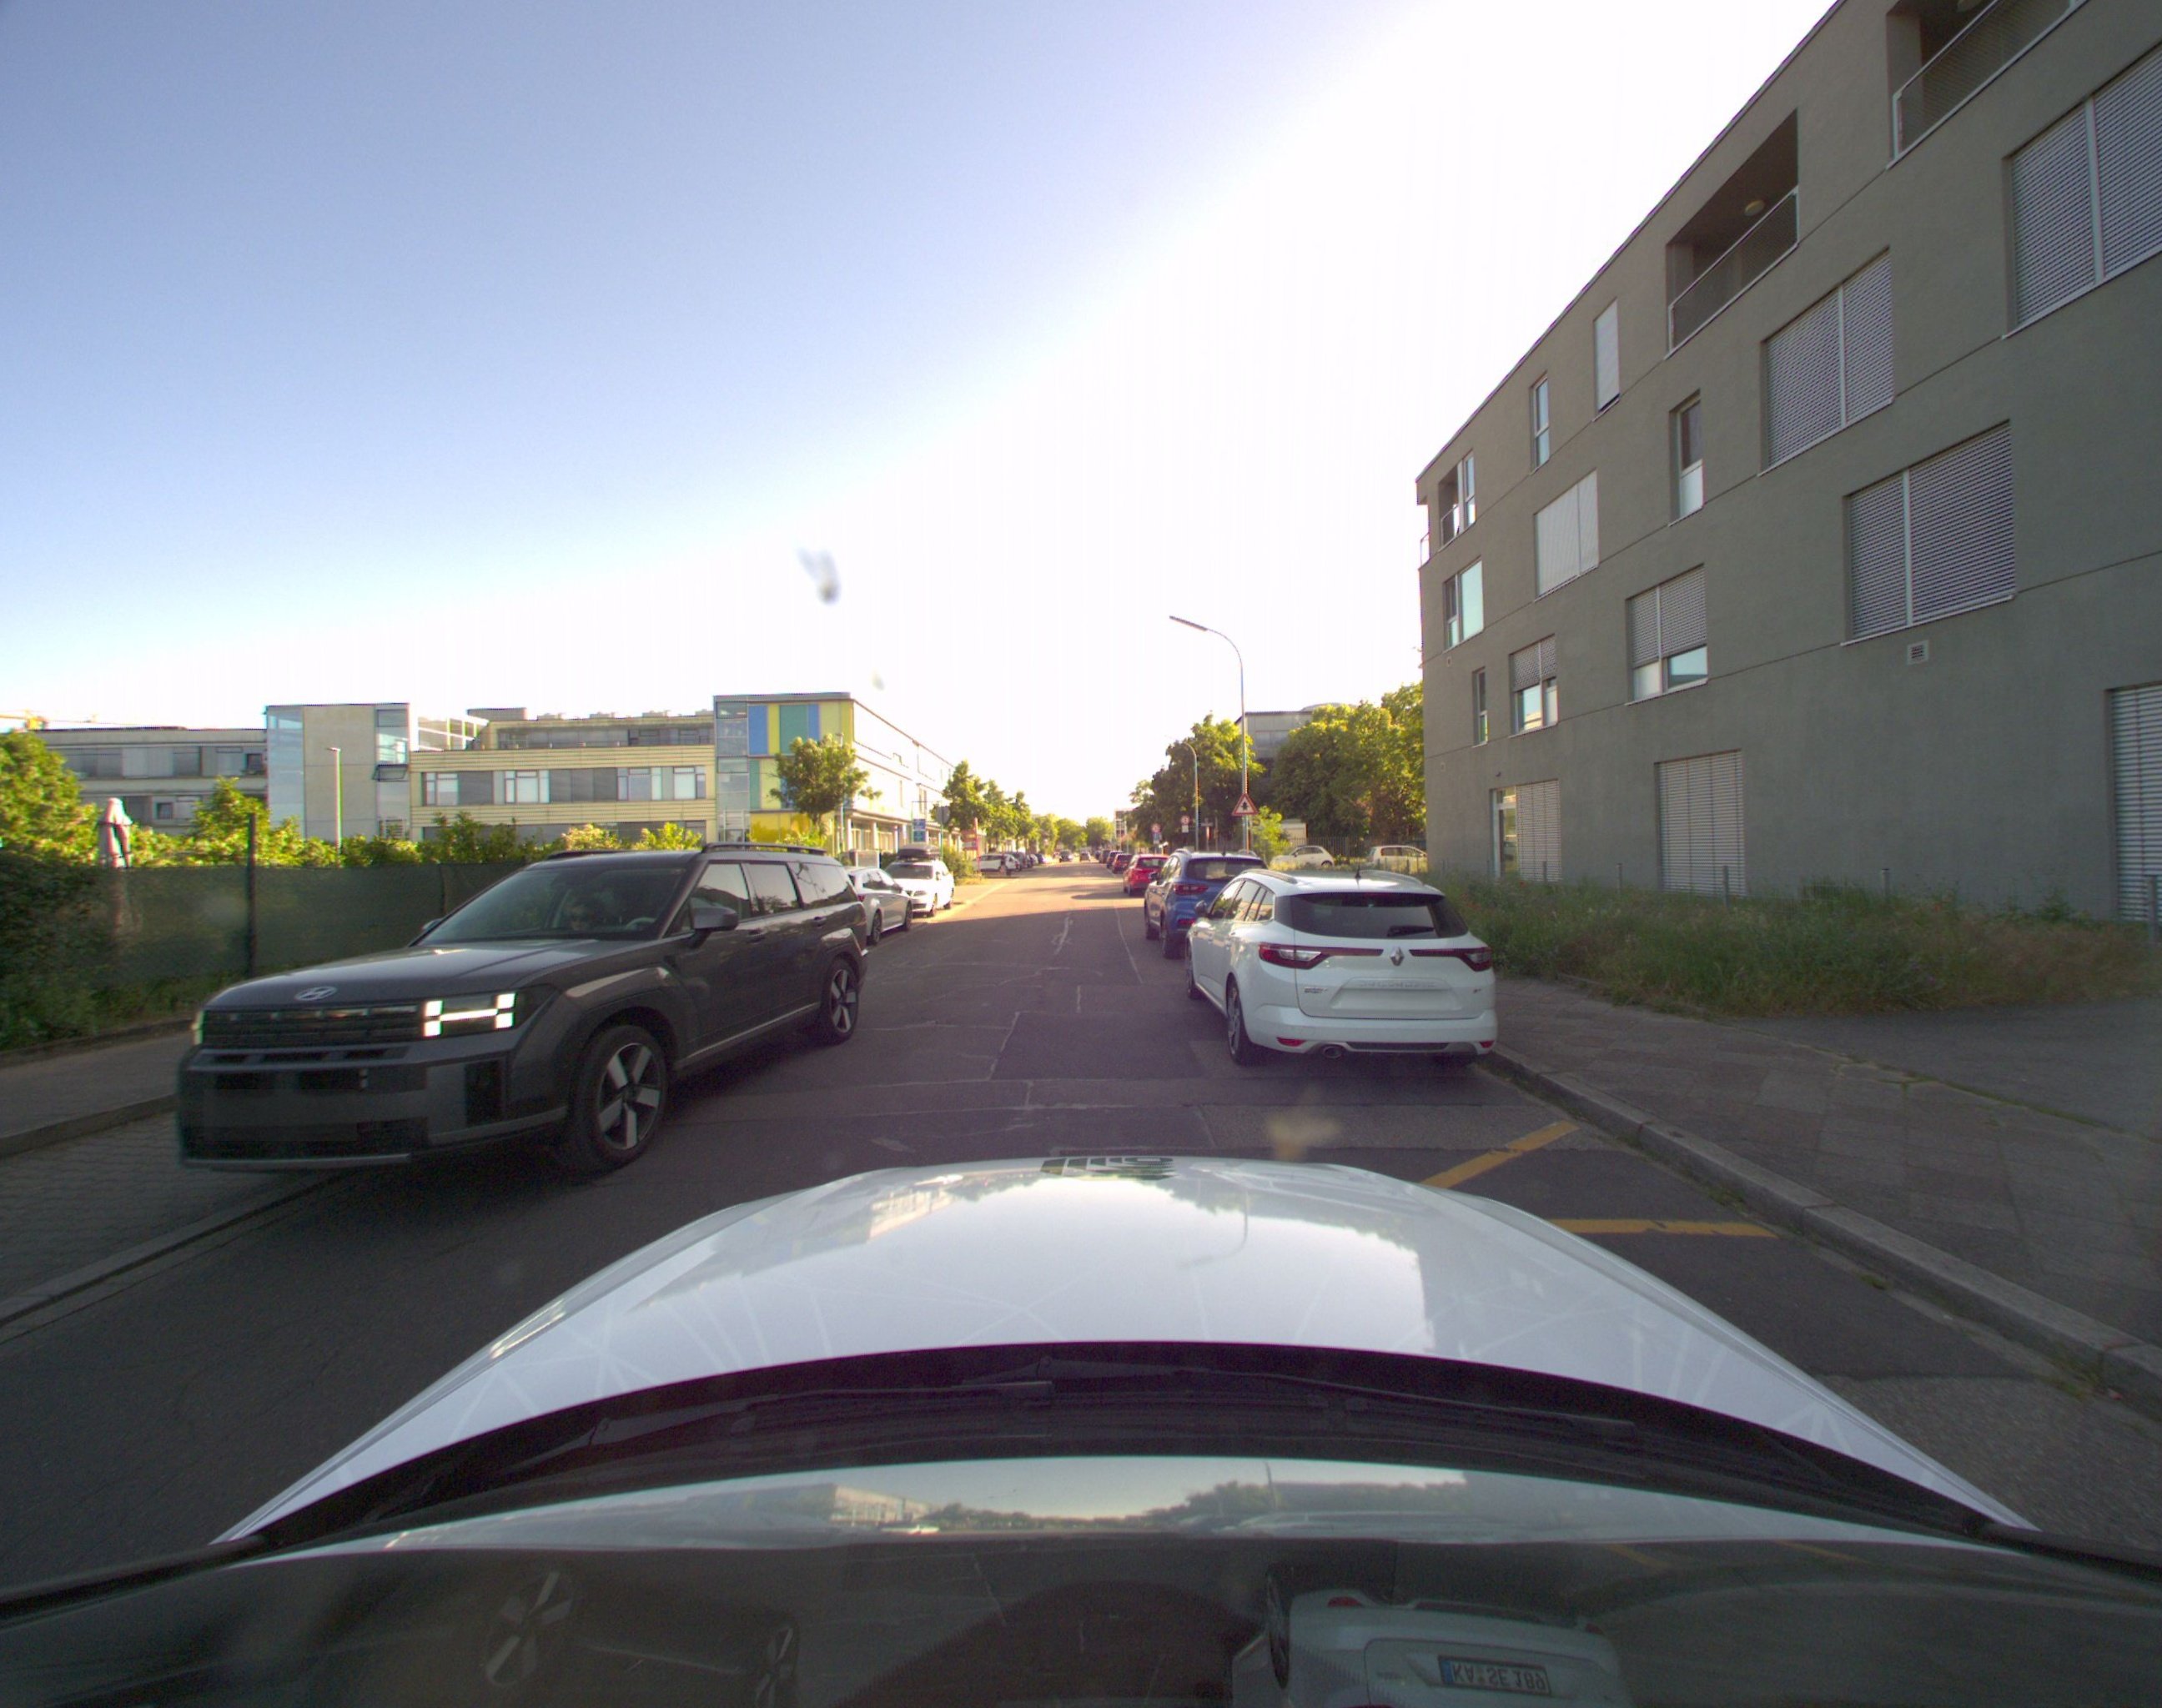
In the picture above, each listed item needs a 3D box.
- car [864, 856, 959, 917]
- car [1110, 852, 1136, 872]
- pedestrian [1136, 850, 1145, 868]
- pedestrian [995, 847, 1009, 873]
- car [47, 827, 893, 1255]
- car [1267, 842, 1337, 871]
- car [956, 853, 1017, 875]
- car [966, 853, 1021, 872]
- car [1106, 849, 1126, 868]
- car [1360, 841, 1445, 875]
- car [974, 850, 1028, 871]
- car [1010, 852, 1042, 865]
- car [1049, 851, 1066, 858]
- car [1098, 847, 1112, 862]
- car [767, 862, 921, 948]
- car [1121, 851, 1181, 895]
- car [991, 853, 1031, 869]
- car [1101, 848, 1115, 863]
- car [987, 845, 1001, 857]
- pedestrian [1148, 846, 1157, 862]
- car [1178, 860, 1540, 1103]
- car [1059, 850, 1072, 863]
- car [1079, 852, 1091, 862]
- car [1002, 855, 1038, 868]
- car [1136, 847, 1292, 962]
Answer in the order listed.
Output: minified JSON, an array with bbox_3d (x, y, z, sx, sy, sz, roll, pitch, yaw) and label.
[{"bbox_3d":[-4.615,0.824,22.799,1.690,1.513,4.516,1,0,0],"label":"car"},{"bbox_3d":[3.194,0.602,62.480,1.714,1.455,4.651,0,0,0],"label":"car"},{"bbox_3d":[5.791,0.481,79.545,0.715,1.758,0.885,-4,0,1],"label":"pedestrian"},{"bbox_3d":[-5.700,0.412,58.783,0.854,1.842,0.826,0,0,2],"label":"pedestrian"},{"bbox_3d":[-3.152,0.772,5.794,1.932,1.727,4.848,-2,0,7],"label":"car"},{"bbox_3d":[12.490,0.146,46.216,3.534,1.486,1.600,-2,0,1],"label":"car"},{"bbox_3d":[-7.672,0.783,66.231,4.592,1.651,1.869,-1,0,3],"label":"car"},{"bbox_3d":[-7.373,0.721,68.919,4.419,1.501,1.827,-1,0,0],"label":"car"},{"bbox_3d":[3.320,0.412,78.520,1.805,1.666,4.594,0,1,1],"label":"car"},{"bbox_3d":[14.938,0.181,37.988,3.311,1.458,1.717,-2,0,5],"label":"car"},{"bbox_3d":[-7.249,0.586,74.534,4.726,1.865,1.827,0,0,0],"label":"car"},{"bbox_3d":[-7.204,0.567,107.303,4.205,1.603,1.869,0,0,-4],"label":"car"},{"bbox_3d":[-5.489,0.175,190.942,3.974,1.519,2.000,-1,-1,0],"label":"car"},{"bbox_3d":[3.433,0.074,115.967,1.869,1.978,4.000,-3,0,0],"label":"car"},{"bbox_3d":[-4.600,0.921,16.568,1.741,1.446,4.541,0,0,1],"label":"car"},{"bbox_3d":[2.494,0.654,30.057,1.813,1.499,4.451,0,0,0],"label":"car"},{"bbox_3d":[-6.983,0.694,81.561,3.979,1.607,1.869,0,0,-4],"label":"car"},{"bbox_3d":[3.423,0.236,103.480,1.727,1.830,3.905,-2,0,0],"label":"car"},{"bbox_3d":[-15.646,-0.444,146.030,1.987,2.014,3.999,-1,-1,0],"label":"car"},{"bbox_3d":[7.497,0.026,85.362,0.696,1.661,0.751,-4,0,0],"label":"pedestrian"},{"bbox_3d":[1.972,0.796,7.267,1.739,1.429,4.586,0,0,1],"label":"car"},{"bbox_3d":[-2.337,0.390,126.540,1.949,1.867,5.252,-1,0,-1],"label":"car"},{"bbox_3d":[0.615,0.470,129.250,1.738,1.543,4.000,-1,0,0],"label":"car"},{"bbox_3d":[-6.755,0.802,90.373,3.979,1.358,1.741,-1,0,-4],"label":"car"},{"bbox_3d":[2.012,0.695,13.655,1.811,1.599,4.626,0,0,-1],"label":"car"}]
